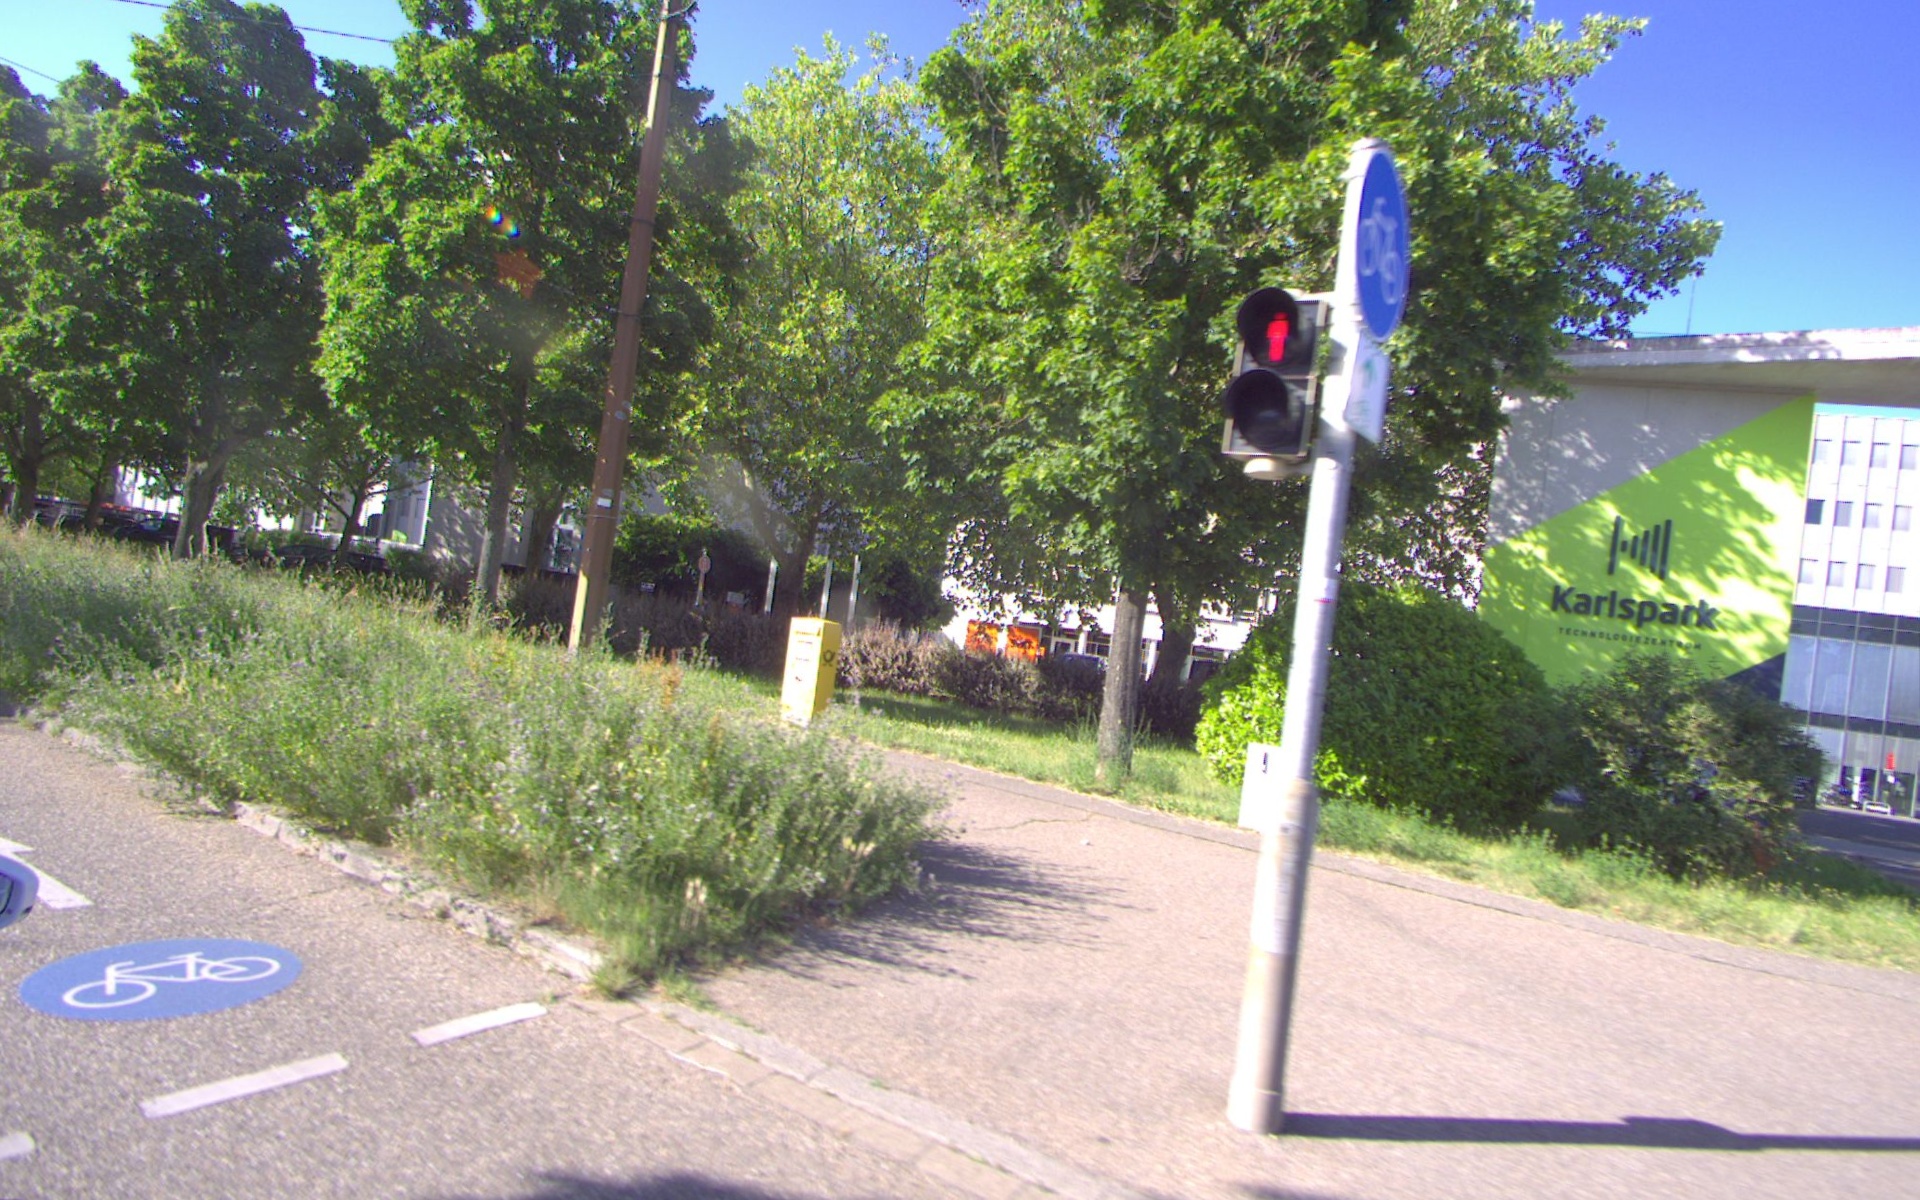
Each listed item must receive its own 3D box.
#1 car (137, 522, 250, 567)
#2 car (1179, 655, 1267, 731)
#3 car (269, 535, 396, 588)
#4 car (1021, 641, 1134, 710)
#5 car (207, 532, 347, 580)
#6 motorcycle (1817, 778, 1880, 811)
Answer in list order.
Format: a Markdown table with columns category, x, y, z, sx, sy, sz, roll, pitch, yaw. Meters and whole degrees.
| category | x | y | z | sx | sy | sz | roll | pitch | yaw |
| --- | --- | --- | --- | --- | --- | --- | --- | --- | --- |
| car | -38.281 | -2.749 | 50.362 | 3.947 | 1.530 | 1.991 | 8 | -2 | -22 |
| car | 7.777 | 2.707 | 29.383 | 2.052 | 1.776 | 4.904 | 7 | -3 | 18 |
| car | -26.667 | -1.597 | 42.907 | 4.177 | 1.573 | 1.919 | 8 | -2 | -23 |
| car | 3.692 | 2.370 | 30.836 | 1.862 | 1.705 | 4.470 | 6 | -3 | 27 |
| car | -29.791 | -1.884 | 44.087 | 4.625 | 1.342 | 2.081 | 9 | -2 | -23 |
| motorcycle | 35.326 | 7.741 | 40.020 | 1.702 | 0.958 | 0.654 | 7 | -2 | 19 |
